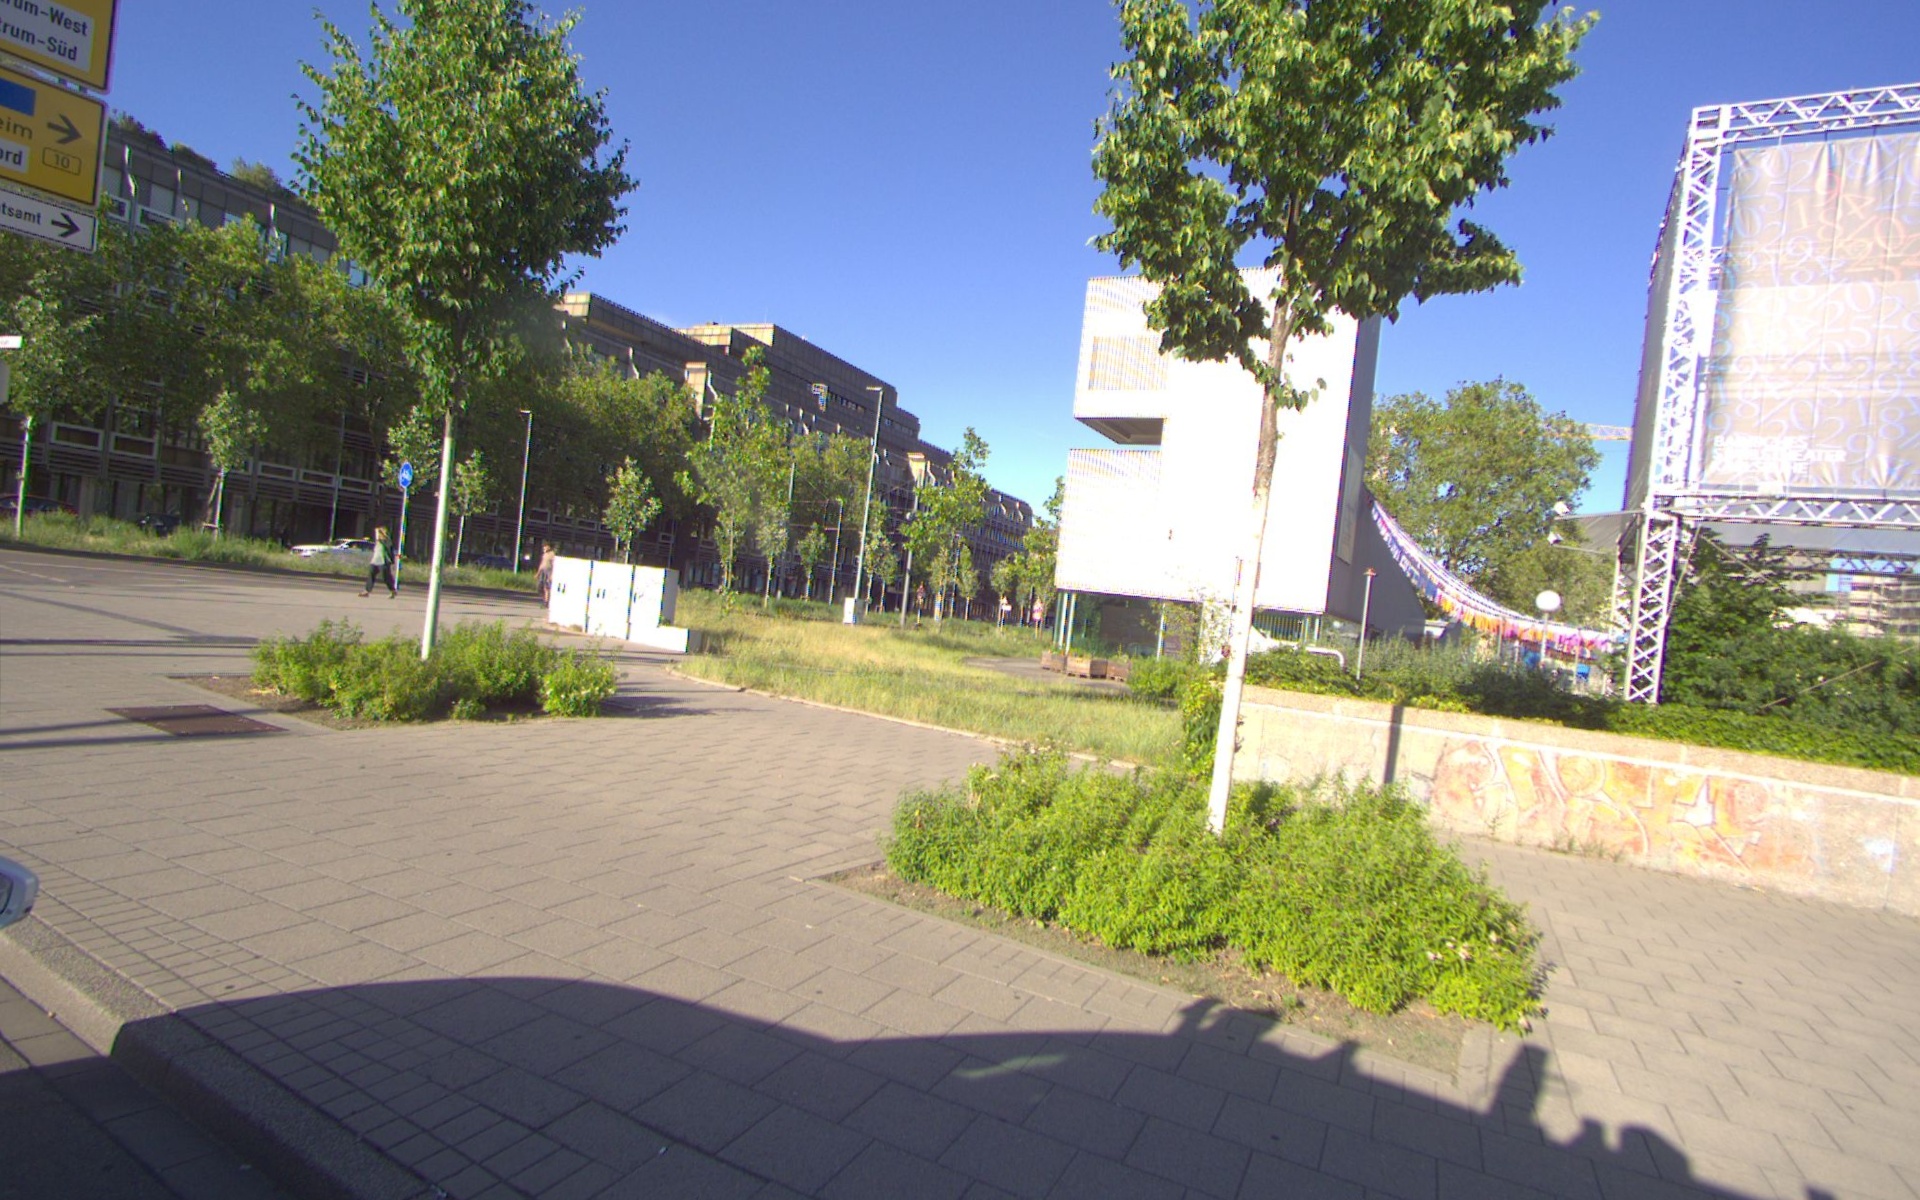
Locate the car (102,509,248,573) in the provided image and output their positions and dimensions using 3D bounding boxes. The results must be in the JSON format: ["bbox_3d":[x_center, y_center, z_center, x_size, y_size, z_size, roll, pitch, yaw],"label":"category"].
[{"bbox_3d":[-34.115,-2.524,43.881,1.965,2.036,4.458,7,-2,27],"label":"car"}]

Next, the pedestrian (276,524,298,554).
[{"bbox_3d":[-40.301,-3.668,60.274,0.728,1.678,0.665,7,1,25],"label":"pedestrian"}]

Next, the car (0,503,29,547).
[{"bbox_3d":[-37.247,-3.038,36.945,1.836,1.525,3.997,7,-2,29],"label":"car"}]

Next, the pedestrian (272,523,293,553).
[{"bbox_3d":[-40.996,-3.737,60.876,0.728,1.678,0.665,7,1,25],"label":"pedestrian"}]

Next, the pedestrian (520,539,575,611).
[{"bbox_3d":[-10.736,-0.648,26.178,0.925,1.750,0.695,7,1,18],"label":"pedestrian"}]

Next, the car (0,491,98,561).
[{"bbox_3d":[-33.317,-2.706,35.374,1.966,2.037,3.997,6,-2,29],"label":"car"}]

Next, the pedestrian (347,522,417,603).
[{"bbox_3d":[-12.905,-0.828,22.470,0.925,1.650,0.803,7,1,18],"label":"pedestrian"}]

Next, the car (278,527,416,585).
[{"bbox_3d":[-30.679,-2.176,50.585,2.062,2.036,5.455,6,-2,29],"label":"car"}]
